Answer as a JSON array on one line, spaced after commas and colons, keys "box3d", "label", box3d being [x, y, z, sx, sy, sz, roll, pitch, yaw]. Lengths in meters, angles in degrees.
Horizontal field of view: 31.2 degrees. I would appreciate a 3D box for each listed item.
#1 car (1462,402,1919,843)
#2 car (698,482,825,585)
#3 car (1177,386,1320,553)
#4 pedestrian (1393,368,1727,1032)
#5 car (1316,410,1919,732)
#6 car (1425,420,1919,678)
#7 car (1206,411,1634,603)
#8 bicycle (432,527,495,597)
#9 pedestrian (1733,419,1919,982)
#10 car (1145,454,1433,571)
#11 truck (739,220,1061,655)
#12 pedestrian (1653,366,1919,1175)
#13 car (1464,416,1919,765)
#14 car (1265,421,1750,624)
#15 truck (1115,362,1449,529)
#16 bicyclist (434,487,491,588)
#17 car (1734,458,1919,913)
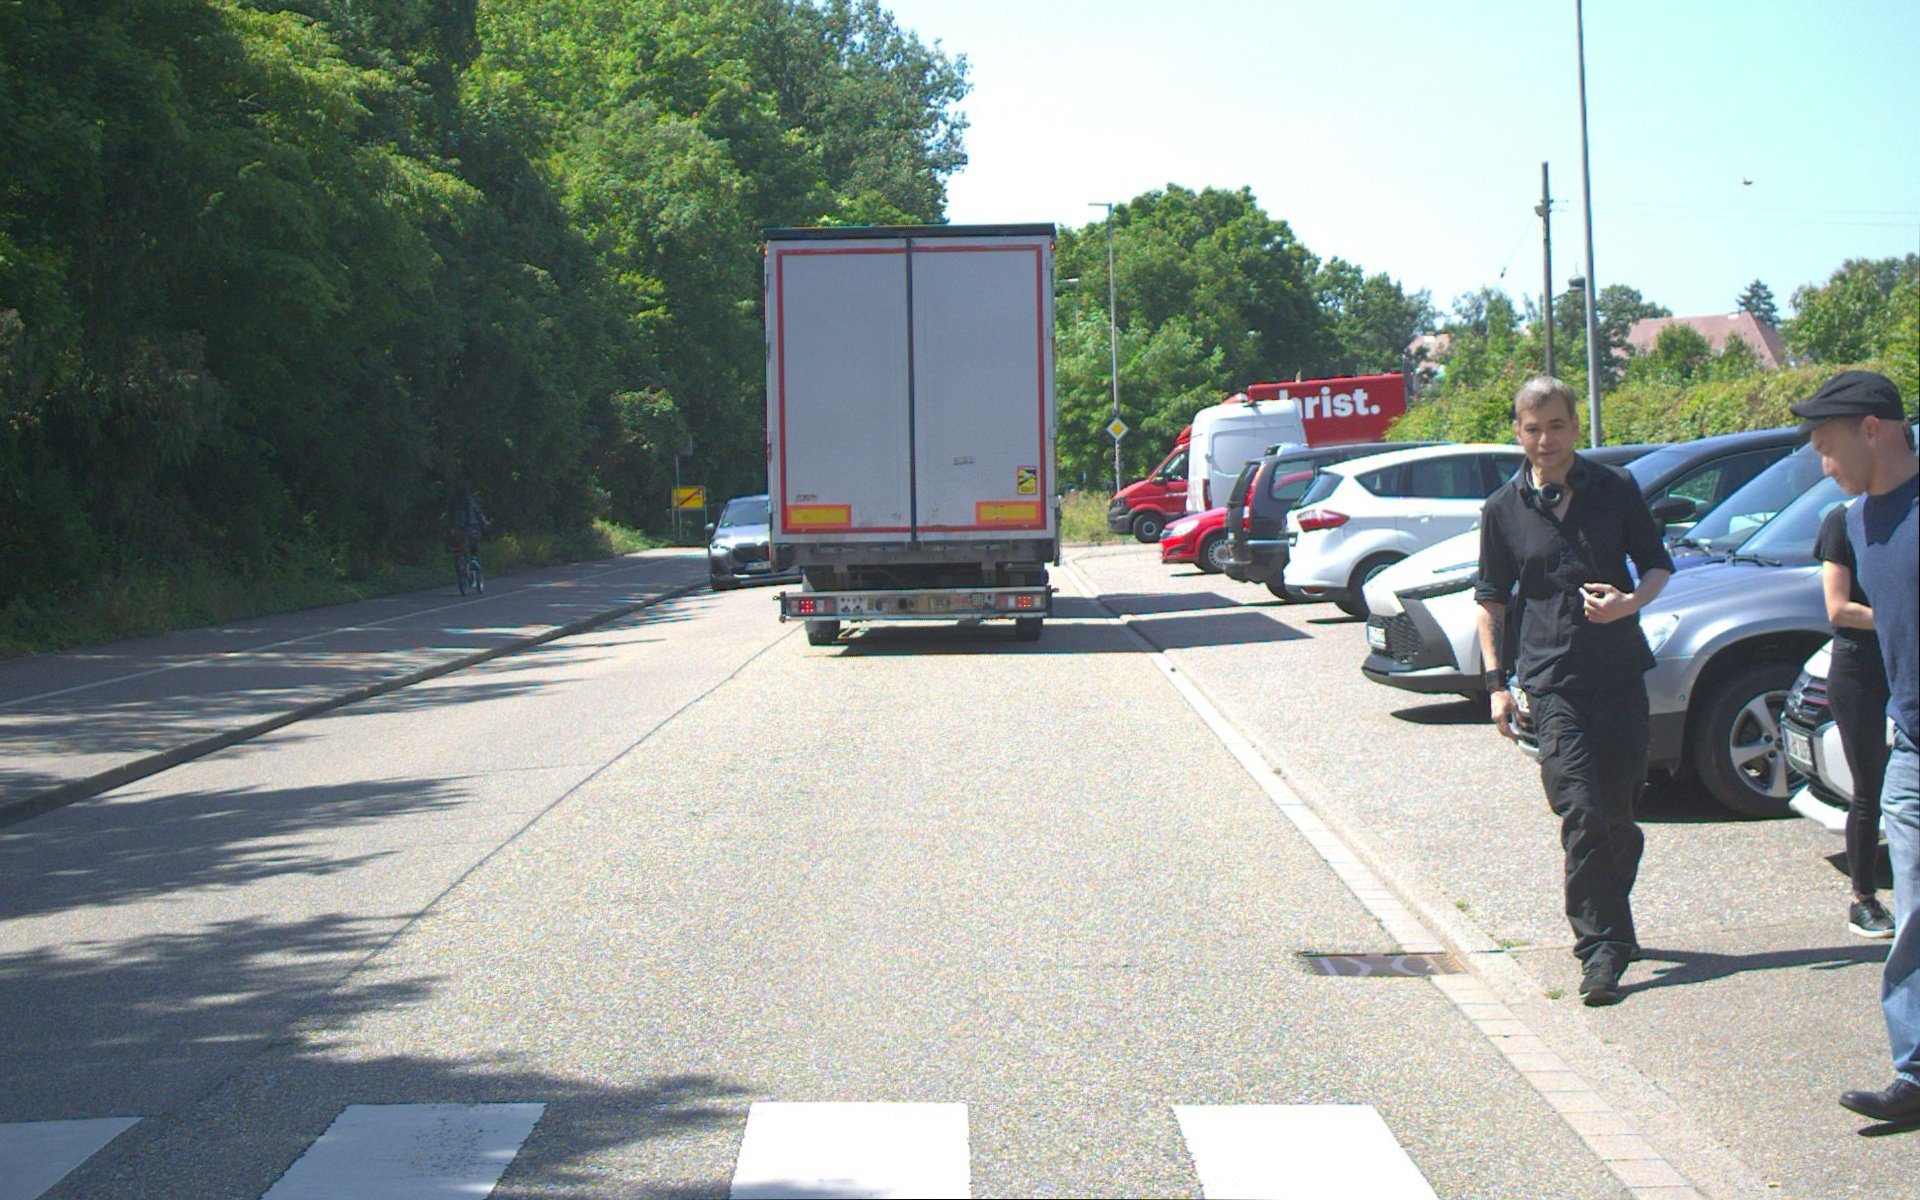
[{"box3d": [4.399, -0.050, 15.005, 3.960, 1.634, 1.664, -6, 2, -5], "label": "car"}, {"box3d": [-3.383, -1.175, 59.239, 1.891, 1.527, 4.197, -6, 2, -1], "label": "car"}, {"box3d": [5.199, -2.402, 62.853, 1.954, 2.724, 7.168, -4, 2, 1], "label": "car"}, {"box3d": [1.821, 0.267, 10.304, 0.782, 1.858, 1.086, -3, 2, 15], "label": "pedestrian"}, {"box3d": [4.353, -0.227, 20.797, 3.962, 1.517, 1.865, -6, 2, -5], "label": "car"}, {"box3d": [5.024, -0.376, 23.786, 3.388, 1.498, 1.588, -4, 3, 4], "label": "car"}, {"box3d": [5.227, -1.066, 39.438, 4.452, 1.798, 1.953, -5, 2, -4], "label": "car"}, {"box3d": [-7.798, -0.606, 54.045, 0.561, 1.023, 1.839, -2, 2, 4], "label": "bicycle"}, {"box3d": [2.814, 0.268, 10.382, 0.779, 1.605, 0.896, -4, 2, 15], "label": "pedestrian"}, {"box3d": [4.972, -1.337, 52.302, 4.053, 1.429, 1.836, -5, 2, -2], "label": "car"}, {"box3d": [-0.412, -1.640, 36.587, 2.733, 3.732, 13.246, -1, 2, 1], "label": "truck"}, {"box3d": [2.428, 0.329, 7.838, 1.155, 1.745, 1.023, -6, 2, -35], "label": "pedestrian"}, {"box3d": [4.567, -0.138, 17.929, 3.452, 1.521, 1.540, -6, 2, -5], "label": "car"}, {"box3d": [5.238, -0.762, 33.232, 4.276, 1.572, 1.766, -5, 2, -1], "label": "car"}, {"box3d": [7.231, -3.450, 76.850, 7.140, 3.428, 2.329, -2, 3, 11], "label": "truck"}, {"box3d": [-7.814, -0.987, 54.036, 0.648, 1.559, 0.837, -2, 2, 4], "label": "bicyclist"}, {"box3d": [4.782, 0.112, 12.122, 3.690, 1.445, 1.610, -5, 2, 4], "label": "car"}]
